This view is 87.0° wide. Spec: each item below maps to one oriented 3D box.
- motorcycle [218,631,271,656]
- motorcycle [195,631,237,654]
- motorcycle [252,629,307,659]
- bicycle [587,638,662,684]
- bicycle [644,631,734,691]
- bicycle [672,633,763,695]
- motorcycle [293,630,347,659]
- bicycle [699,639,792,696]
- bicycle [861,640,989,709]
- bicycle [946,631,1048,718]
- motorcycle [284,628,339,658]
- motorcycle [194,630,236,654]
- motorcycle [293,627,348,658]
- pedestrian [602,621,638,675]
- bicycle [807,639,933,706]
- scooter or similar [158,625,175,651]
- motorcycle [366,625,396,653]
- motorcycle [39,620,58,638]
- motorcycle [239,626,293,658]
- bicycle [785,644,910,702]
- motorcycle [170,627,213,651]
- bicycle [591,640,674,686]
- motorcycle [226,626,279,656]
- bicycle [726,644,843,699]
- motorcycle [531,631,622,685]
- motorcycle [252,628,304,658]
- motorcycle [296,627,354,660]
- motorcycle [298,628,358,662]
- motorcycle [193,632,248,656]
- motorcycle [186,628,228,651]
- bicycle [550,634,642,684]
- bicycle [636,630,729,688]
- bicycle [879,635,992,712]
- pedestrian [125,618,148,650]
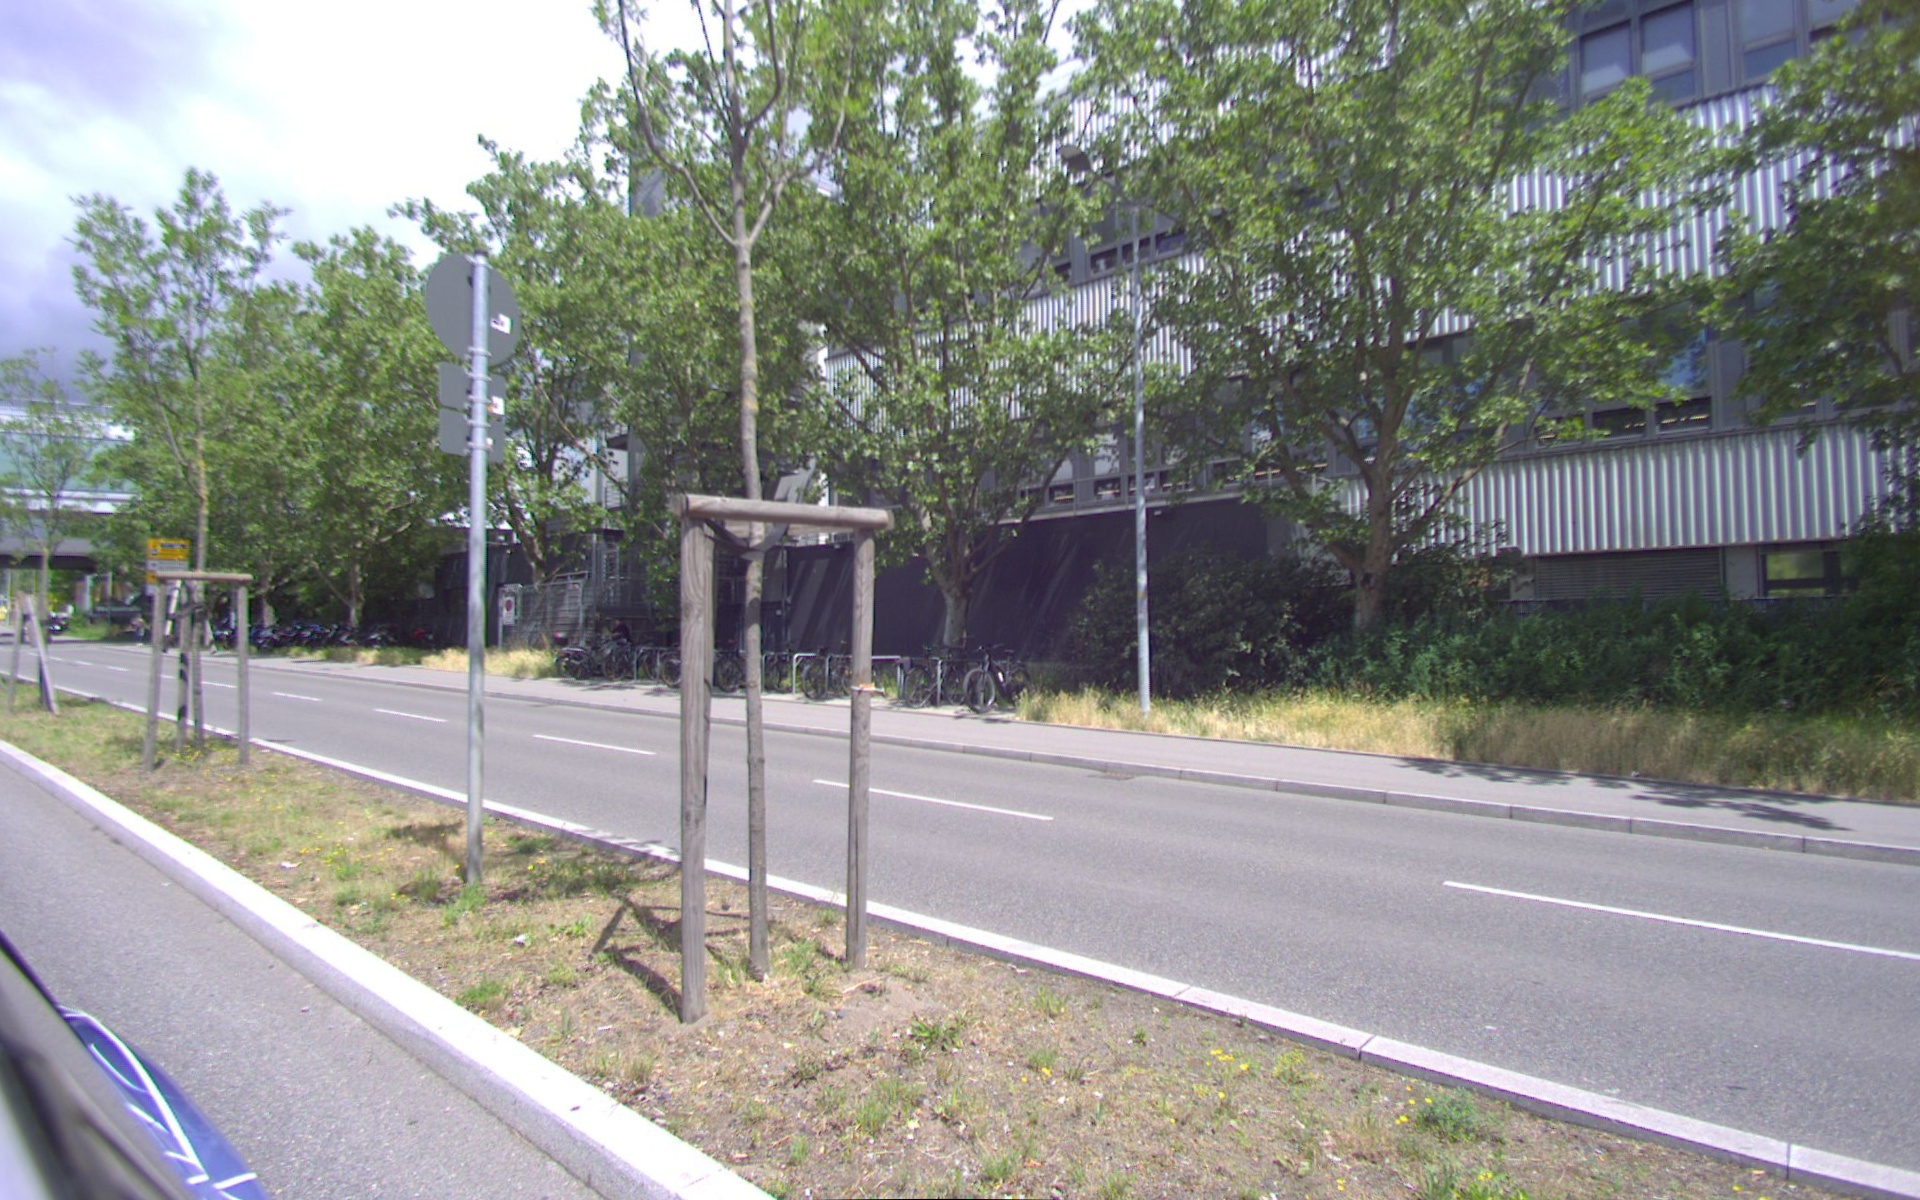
[{"bbox_3d":[-34.186,2.068,48.379,1.904,1.124,0.924,-2,-1,-23],"label":"motorcycle"},{"bbox_3d":[-37.290,2.124,50.719,0.776,1.041,1.574,-3,-1,41],"label":"motorcycle"},{"bbox_3d":[-29.480,1.918,43.849,1.855,1.188,0.816,-2,-1,-41],"label":"motorcycle"},{"bbox_3d":[-8.511,1.528,25.739,0.422,1.083,1.905,-1,-1,38],"label":"bicycle"},{"bbox_3d":[-6.202,1.366,23.236,0.805,1.292,1.899,-1,-1,38],"label":"bicycle"},{"bbox_3d":[-5.381,1.393,22.578,0.805,1.292,1.899,-1,-1,38],"label":"bicycle"},{"bbox_3d":[-26.443,1.833,41.825,1.853,1.093,0.796,-2,-1,-35],"label":"motorcycle"},{"bbox_3d":[-4.632,1.434,21.919,0.805,1.131,1.899,-1,-1,38],"label":"bicycle"},{"bbox_3d":[-0.637,1.379,19.314,2.533,1.166,0.727,0,-1,-40],"label":"bicycle"},{"bbox_3d":[0.661,1.237,17.315,0.489,1.374,2.144,-2,-2,42],"label":"bicycle"},{"bbox_3d":[-27.913,1.860,43.554,0.698,1.188,1.857,-3,-1,43],"label":"motorcycle"},{"bbox_3d":[-38.156,2.153,51.822,0.776,1.131,1.574,-3,-1,41],"label":"motorcycle"},{"bbox_3d":[-27.058,1.807,42.826,0.655,1.219,1.857,-3,-1,43],"label":"motorcycle"},{"bbox_3d":[-10.123,1.425,30.124,0.744,1.563,0.822,0,-1,-40],"label":"pedestrian"},{"bbox_3d":[-1.718,1.385,19.715,2.533,1.166,0.645,0,-1,-40],"label":"bicycle"},{"bbox_3d":[-39.174,1.862,49.942,1.478,1.245,0.350,0,0,40],"label":"scooter or similar"},{"bbox_3d":[-26.446,1.774,46.208,1.983,1.219,0.645,-3,-1,45],"label":"motorcycle"},{"bbox_3d":[-63.047,1.991,70.006,2.255,1.207,0.633,0,1,39],"label":"motorcycle"},{"bbox_3d":[-31.343,1.885,45.741,1.905,1.354,0.867,-2,-1,-29],"label":"motorcycle"},{"bbox_3d":[-2.224,1.438,20.346,2.532,1.104,0.697,2,-3,-40],"label":"bicycle"},{"bbox_3d":[-40.873,2.077,53.828,1.721,1.180,0.777,-2,-1,-42],"label":"motorcycle"},{"bbox_3d":[-8.188,1.553,25.393,0.497,1.070,2.060,-1,-1,38],"label":"bicycle"},{"bbox_3d":[-33.139,1.929,47.445,1.905,1.300,0.895,-2,-1,-29],"label":"motorcycle"},{"bbox_3d":[-3.701,1.498,21.645,0.848,1.014,2.814,-1,-1,31],"label":"bicycle"},{"bbox_3d":[-9.943,1.471,26.333,0.805,1.319,2.113,-1,-1,38],"label":"motorcycle"},{"bbox_3d":[-30.252,1.903,44.891,1.853,1.188,0.817,-2,-1,-35],"label":"motorcycle"},{"bbox_3d":[-25.622,1.741,40.859,1.855,1.195,0.730,-2,0,-42],"label":"motorcycle"},{"bbox_3d":[-24.507,1.735,39.266,1.855,1.182,0.746,-2,-1,-41],"label":"motorcycle"},{"bbox_3d":[-35.837,2.129,49.088,0.917,1.124,1.919,0,-3,28],"label":"motorcycle"},{"bbox_3d":[-39.191,2.046,52.668,0.773,1.131,1.579,-3,-1,31],"label":"motorcycle"},{"bbox_3d":[-9.310,1.487,25.944,0.805,1.189,2.113,-1,-1,38],"label":"bicycle"},{"bbox_3d":[-6.651,1.395,24.357,0.805,1.292,2.113,-1,-1,38],"label":"bicycle"},{"bbox_3d":[-0.403,1.283,18.209,0.555,1.267,2.379,-2,-2,42],"label":"bicycle"},{"bbox_3d":[-42.815,1.751,52.633,0.812,1.624,0.760,-1,1,39],"label":"pedestrian"}]
